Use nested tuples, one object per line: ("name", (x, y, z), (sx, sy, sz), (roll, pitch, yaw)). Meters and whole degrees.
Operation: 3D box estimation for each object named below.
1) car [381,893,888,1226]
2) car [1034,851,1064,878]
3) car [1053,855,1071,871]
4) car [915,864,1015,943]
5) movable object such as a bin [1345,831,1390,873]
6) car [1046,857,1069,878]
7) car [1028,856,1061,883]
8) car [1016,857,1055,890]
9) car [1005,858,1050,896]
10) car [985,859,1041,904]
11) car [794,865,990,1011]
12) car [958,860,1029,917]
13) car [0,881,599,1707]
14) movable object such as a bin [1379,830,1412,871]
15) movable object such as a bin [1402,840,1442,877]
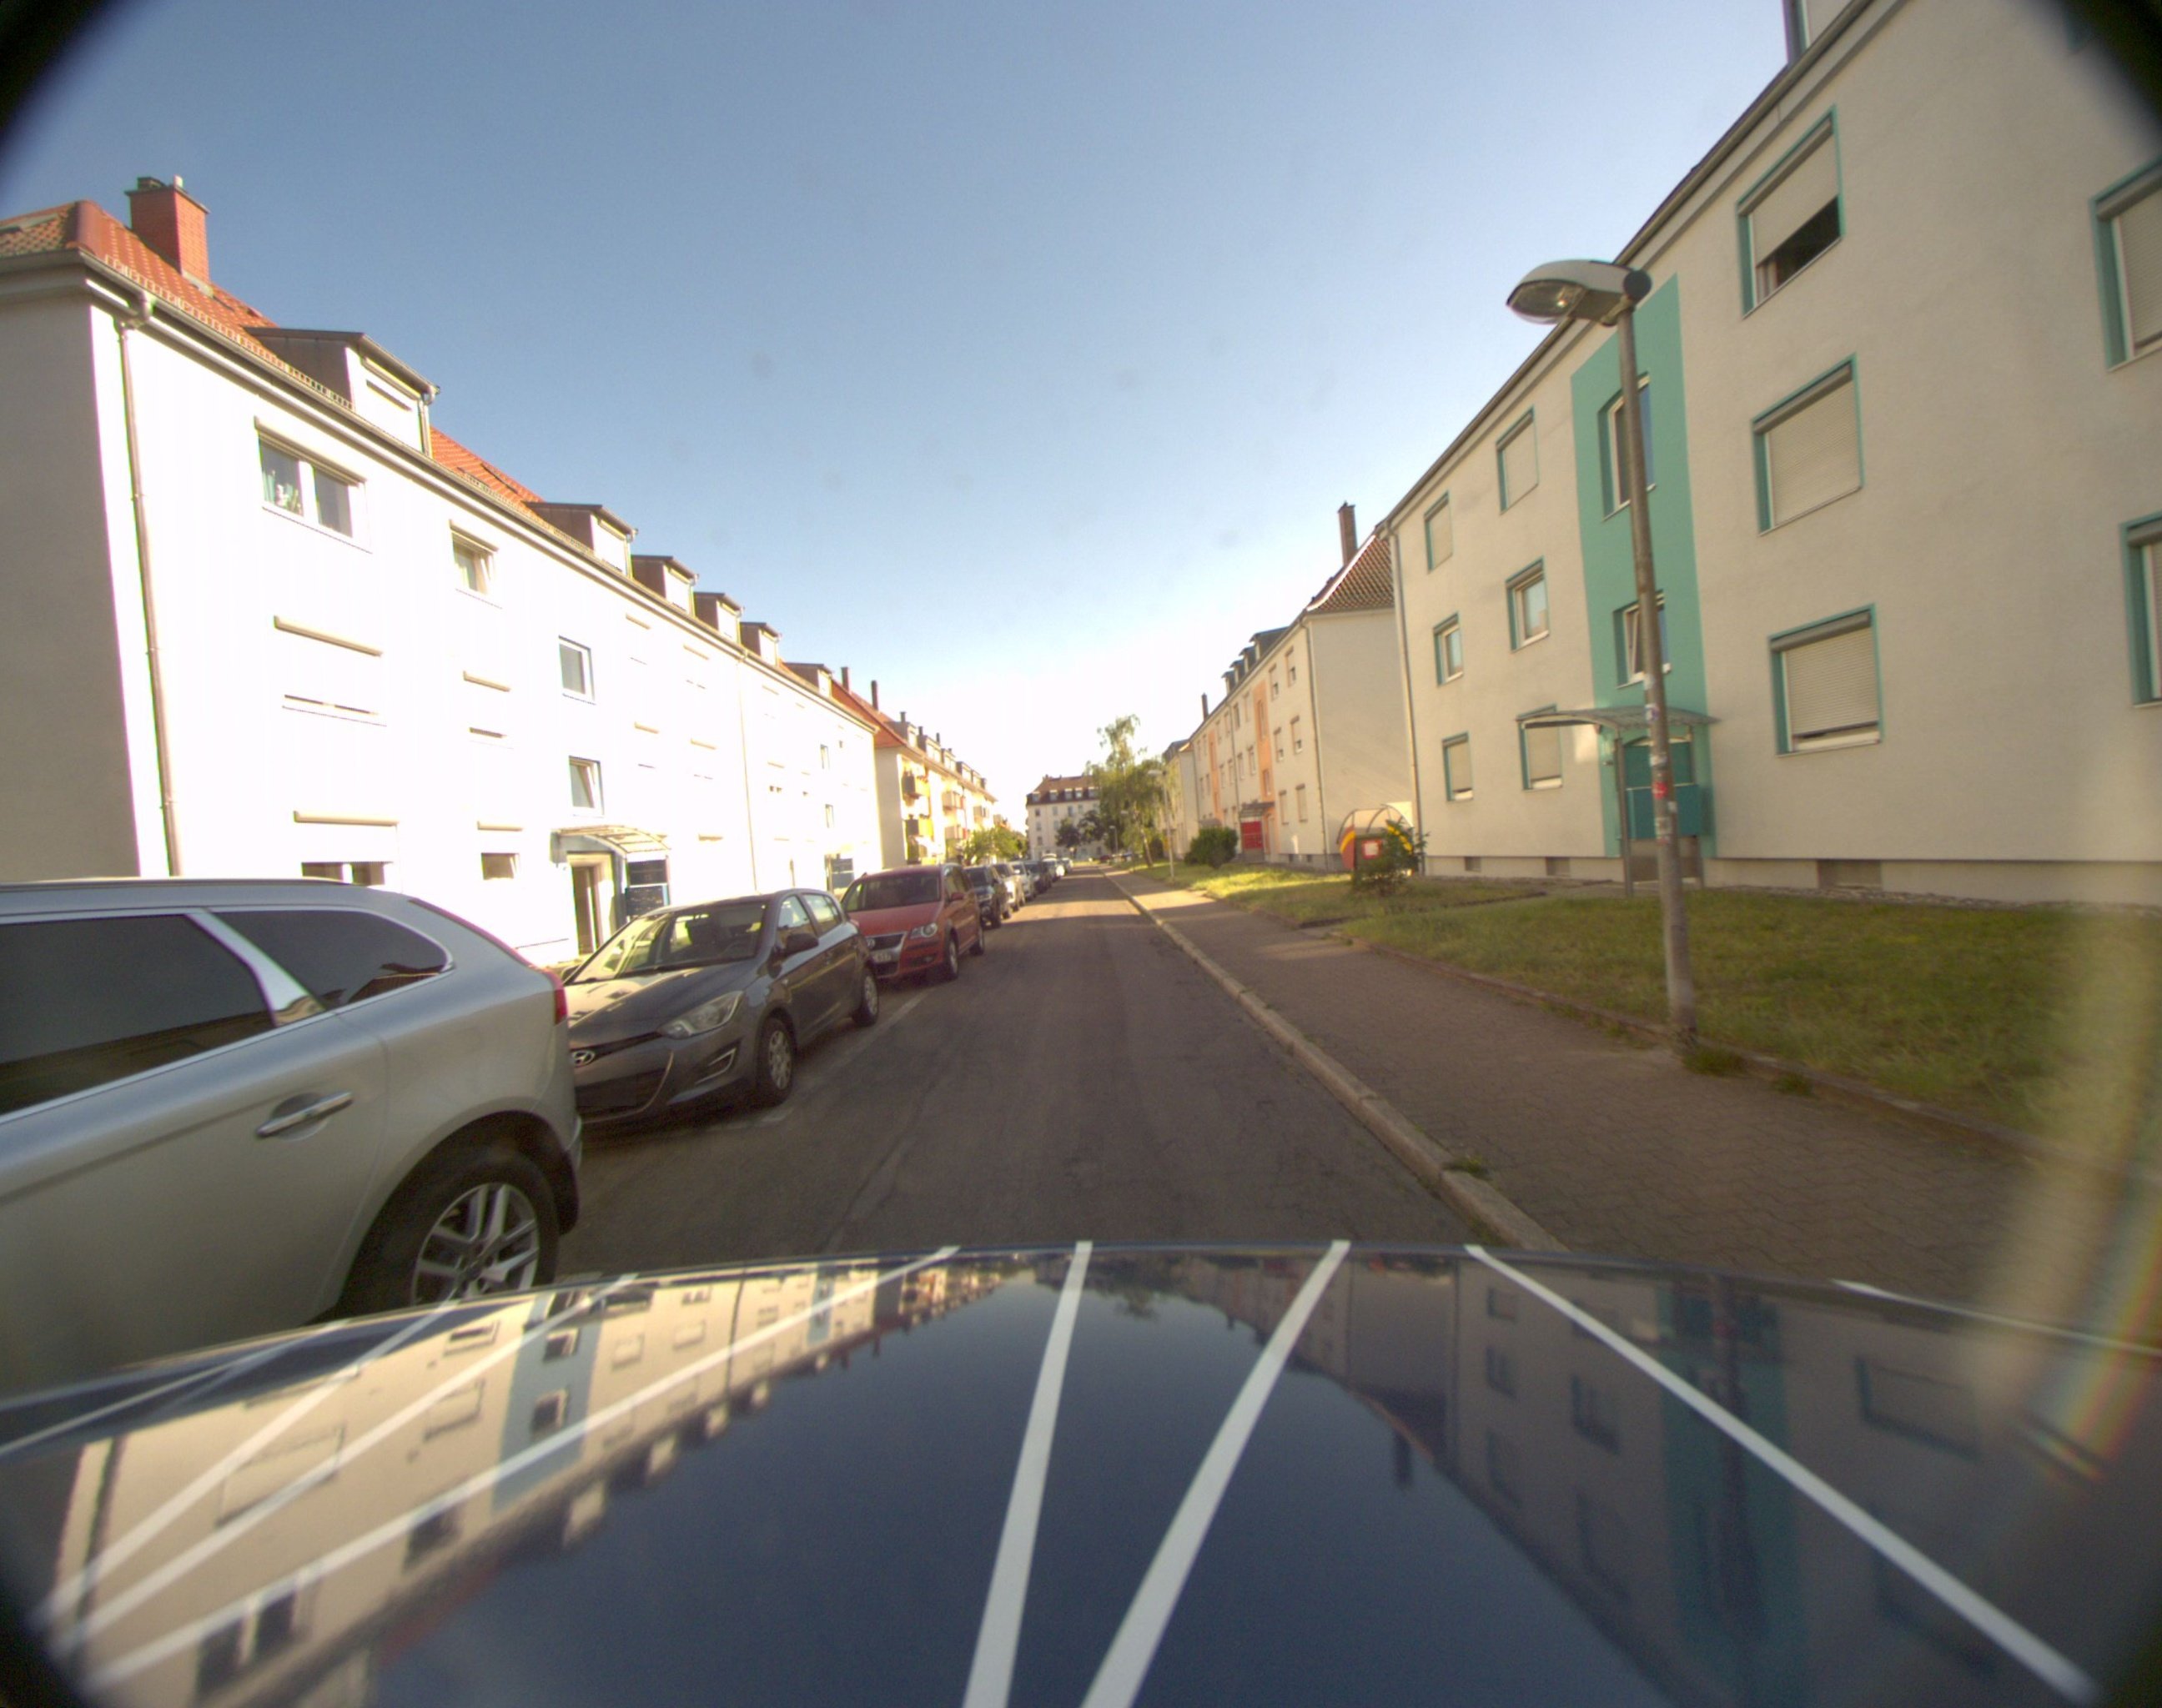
("car", (-2.923, 1.220, 6.073), (1.621, 1.440, 3.857), (-7, 0, 0))
("car", (-2.511, 0.823, 60.704), (1.953, 1.890, 4.763), (-4, 1, 1))
("car", (-2.062, 1.040, 85.076), (1.708, 1.562, 3.925), (-4, 1, 1))
("car", (-2.820, 1.156, 19.361), (1.709, 1.516, 3.876), (-8, 0, 1))
("movable object such as a bin", (10.139, -0.063, 26.901), (1.167, 1.385, 0.877), (-4, 1, 0))
("car", (-2.048, 1.166, 67.554), (1.708, 1.562, 4.734), (-4, 1, 1))
("car", (-2.484, 1.051, 52.513), (1.708, 1.562, 4.381), (-4, 1, 3))
("car", (-2.451, 1.042, 41.789), (1.709, 1.562, 4.041), (-4, 0, 0))
("car", (-2.499, 1.048, 36.381), (1.709, 1.562, 4.041), (-4, 0, 0))
("car", (-2.660, 1.039, 30.519), (1.709, 1.562, 4.041), (-4, 0, 0))
("car", (-2.583, 1.068, 11.539), (1.731, 1.597, 4.423), (-4, 0, 0))
("car", (-2.750, 1.061, 24.716), (1.709, 1.562, 3.876), (-4, 0, 0))
("car", (-2.792, 1.057, 0.753), (1.780, 1.709, 4.306), (-7, 0, -2))
("movable object such as a bin", (11.129, -0.118, 26.886), (0.753, 1.385, 0.763), (-4, 1, 0))
("movable object such as a bin", (9.849, 0.124, 21.970), (0.753, 1.006, 0.763), (-4, 0, 0))
